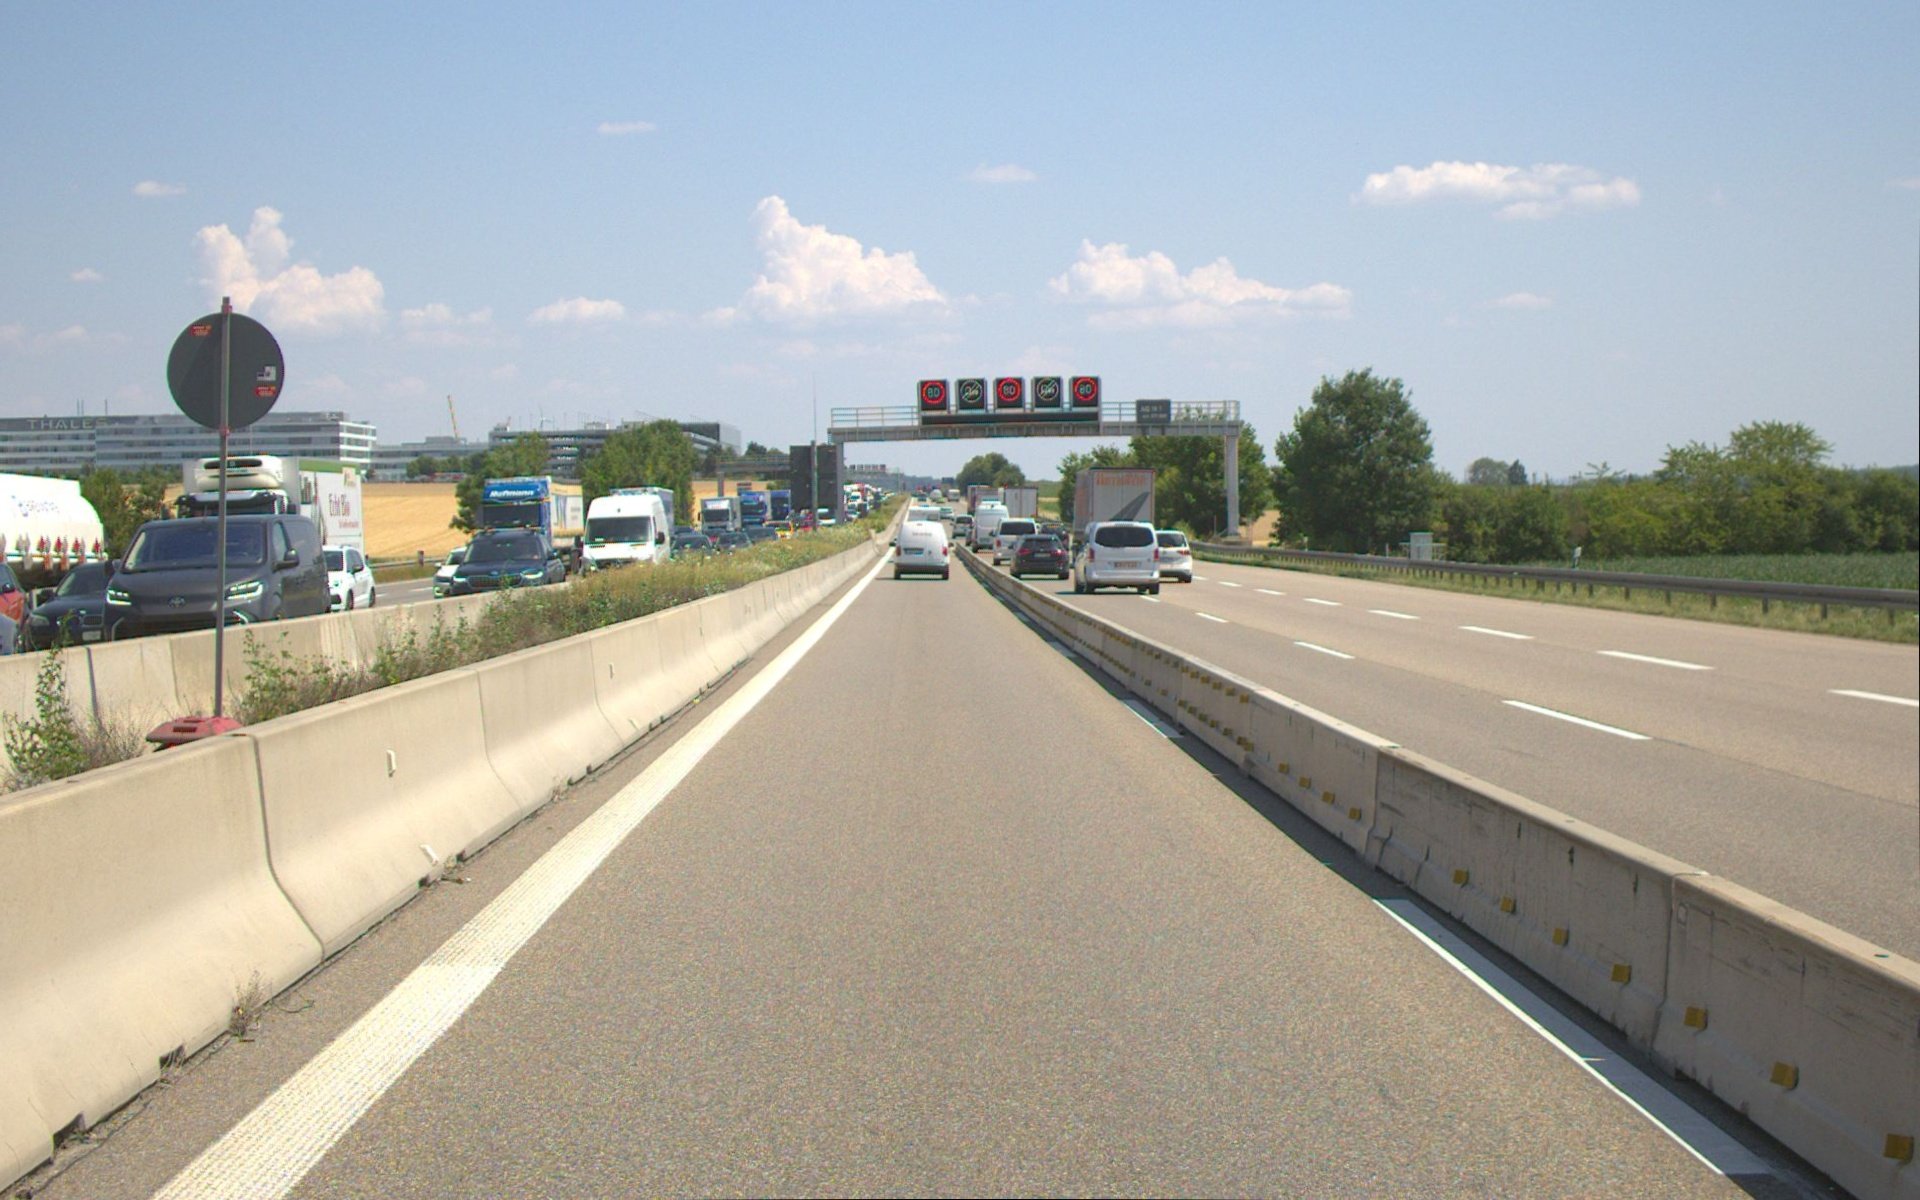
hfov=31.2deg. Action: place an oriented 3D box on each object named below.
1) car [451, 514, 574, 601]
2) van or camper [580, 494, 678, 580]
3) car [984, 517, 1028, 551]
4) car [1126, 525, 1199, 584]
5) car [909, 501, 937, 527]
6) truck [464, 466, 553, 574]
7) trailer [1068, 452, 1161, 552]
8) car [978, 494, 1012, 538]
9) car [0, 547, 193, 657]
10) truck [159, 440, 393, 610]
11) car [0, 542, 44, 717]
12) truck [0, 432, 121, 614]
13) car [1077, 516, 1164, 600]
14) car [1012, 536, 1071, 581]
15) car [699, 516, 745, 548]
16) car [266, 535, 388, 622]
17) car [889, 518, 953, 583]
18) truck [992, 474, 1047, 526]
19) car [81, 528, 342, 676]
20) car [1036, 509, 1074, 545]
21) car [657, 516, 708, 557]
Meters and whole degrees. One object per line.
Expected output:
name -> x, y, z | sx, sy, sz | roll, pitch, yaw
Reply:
car -> -8.500, -0.835, 65.617 | 1.782, 1.584, 4.541 | 0, 1, 0
van or camper -> -8.824, -1.712, 92.225 | 2.035, 2.214, 7.209 | 1, 1, -1
car -> 1.947, -2.796, 146.099 | 1.773, 1.442, 4.000 | 0, 1, -1
car -> 6.268, -1.424, 106.943 | 1.993, 1.788, 4.000 | 0, 1, -1
car -> -2.682, -6.196, 248.113 | 1.993, 1.829, 4.000 | 0, 1, -1
truck -> -17.648, -3.146, 134.586 | 2.809, 4.114, 4.842 | -1, 1, -1
trailer -> 6.254, -3.924, 140.377 | 3.277, 3.953, 9.113 | 0, 1, -1
car -> 1.887, -4.580, 187.898 | 1.773, 2.384, 4.000 | 0, 1, -1
car -> -12.335, -0.005, 48.385 | 2.013, 1.381, 5.086 | -1, 1, -1
truck -> -16.076, -1.787, 81.963 | 2.795, 3.597, 13.289 | -3, 1, 0
car -> -8.252, 0.258, 25.762 | 1.655, 1.347, 4.267 | 0, 1, 0
truck -> -21.279, -1.583, 73.915 | 2.899, 3.763, 13.289 | -3, 1, 1
car -> 4.120, -1.093, 88.742 | 1.993, 2.112, 4.000 | 0, 1, -1
car -> 2.623, -1.347, 111.453 | 1.773, 1.442, 4.000 | 0, 1, -1
car -> -10.538, -2.997, 152.469 | 1.779, 1.330, 4.930 | 1, 0, -1
car -> -12.423, -0.448, 67.648 | 1.559, 1.616, 4.045 | -1, 1, 1
car -> -1.242, -1.564, 109.258 | 1.993, 2.007, 4.000 | 0, 1, -1
truck -> 4.541, -7.703, 265.310 | 3.815, 3.891, 9.581 | -1, 1, -1
car -> -8.430, -0.037, 39.205 | 1.843, 1.564, 5.345 | 0, 1, 0
car -> 5.386, -4.146, 195.535 | 1.993, 2.007, 4.000 | 0, 1, -1
car -> -10.271, -2.366, 127.519 | 1.597, 1.464, 4.534 | -1, 2, -1
